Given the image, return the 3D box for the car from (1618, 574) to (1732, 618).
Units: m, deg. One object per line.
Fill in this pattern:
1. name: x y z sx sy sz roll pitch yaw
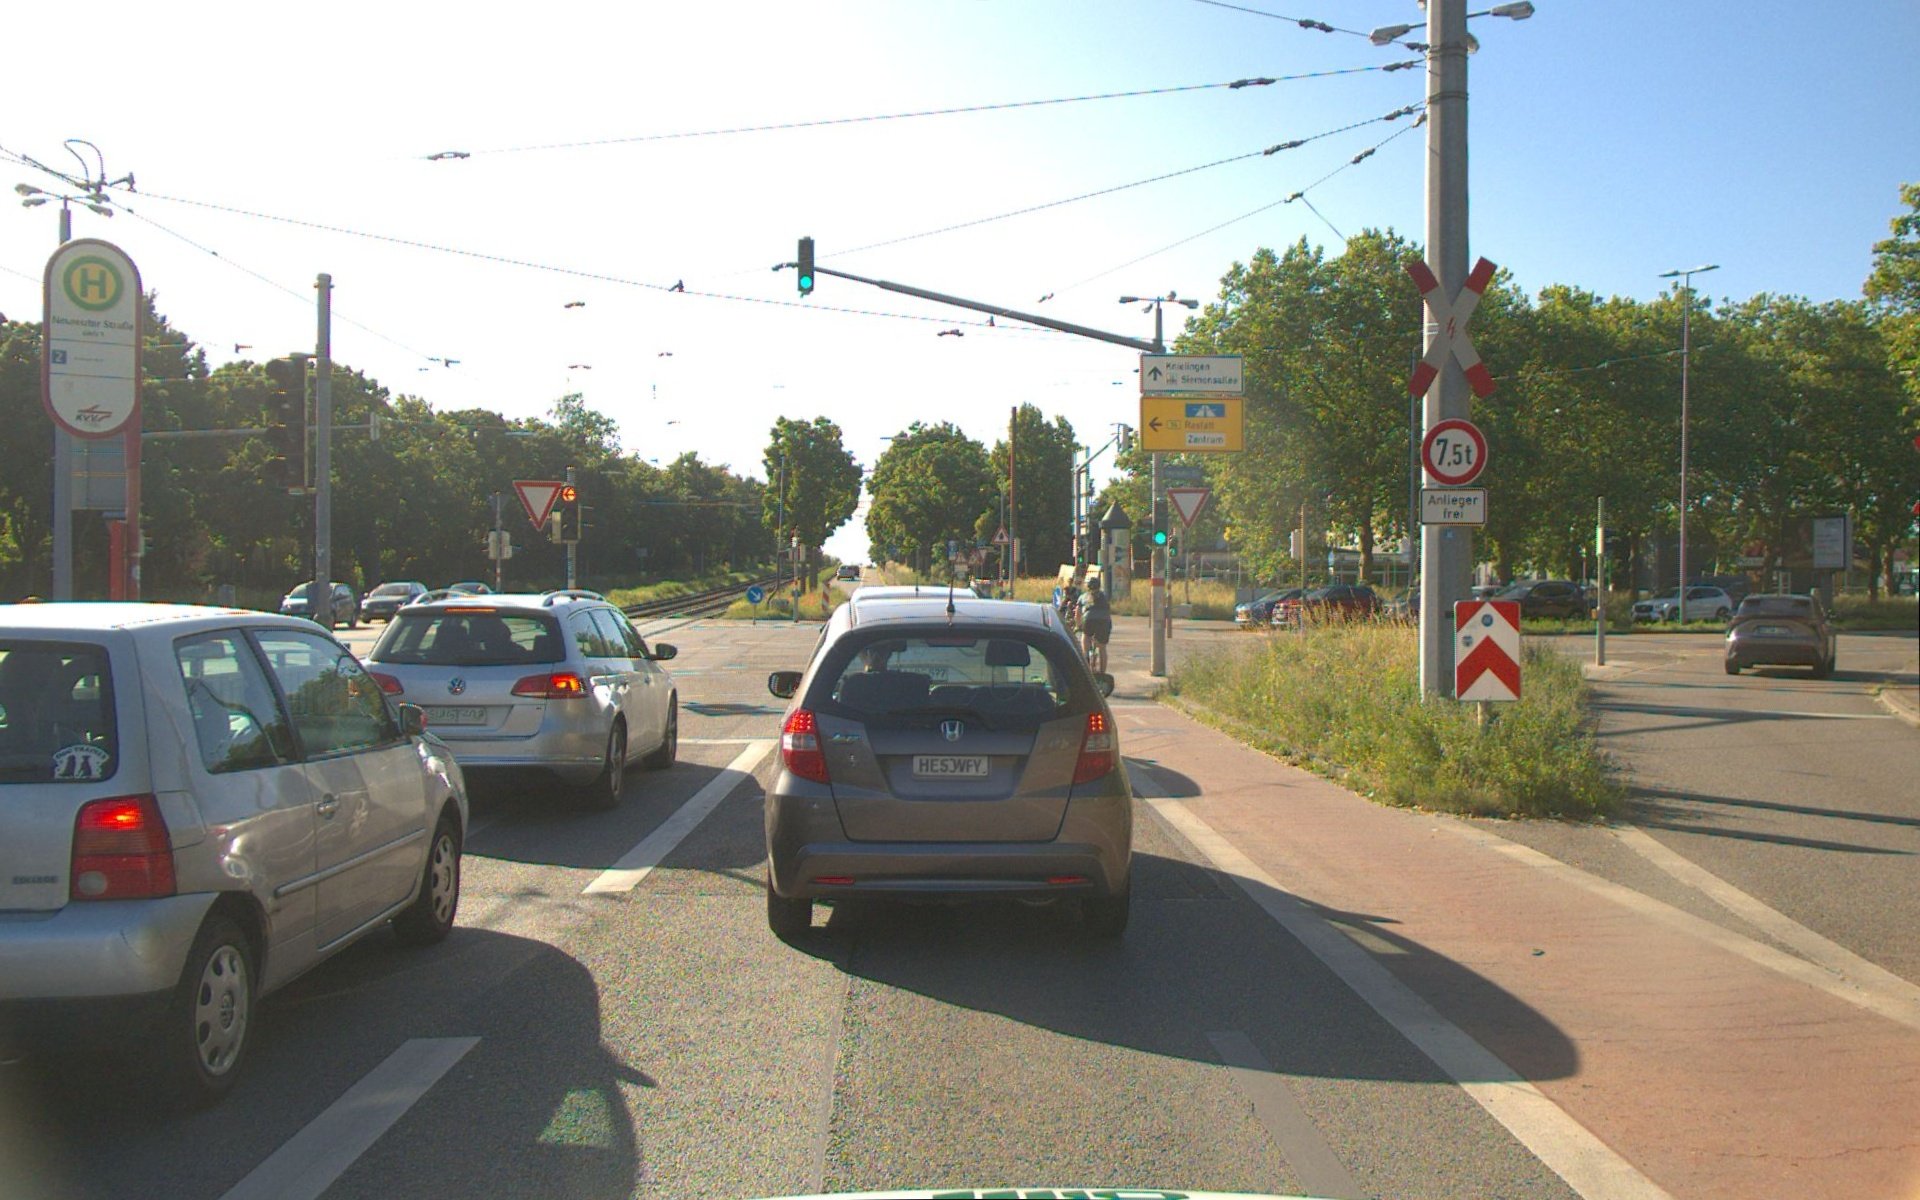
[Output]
1. car: 29.815 -0.139 68.928 4.708 1.711 1.891 1 -1 -29

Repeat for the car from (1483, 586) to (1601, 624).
1. car: 23.098 0.172 65.626 4.504 1.432 1.916 0 0 -29

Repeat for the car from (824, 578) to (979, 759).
1. car: -0.566 0.584 15.863 1.324 1.554 3.122 0 0 -2

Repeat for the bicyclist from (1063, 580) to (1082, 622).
1. bicyclist: 3.678 0.023 54.031 0.500 1.364 0.563 0 0 -11

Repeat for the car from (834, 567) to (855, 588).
1. car: -11.549 -2.250 165.415 1.953 2.049 3.998 0 0 -2

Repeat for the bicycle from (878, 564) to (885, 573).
1. bicycle: -11.002 -4.409 231.836 0.801 1.066 2.505 1 0 -2

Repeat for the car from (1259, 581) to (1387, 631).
1. car: 12.327 0.186 56.100 4.026 1.628 1.801 0 0 -26

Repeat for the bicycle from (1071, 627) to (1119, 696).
1. bicycle: 2.005 0.905 24.766 0.513 0.939 2.089 0 0 -1

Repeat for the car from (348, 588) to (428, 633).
1. car: -21.449 0.377 62.201 1.778 1.624 4.687 0 0 -6

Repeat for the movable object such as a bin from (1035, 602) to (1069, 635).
1. movable object such as a bin: 3.082 0.608 55.673 0.892 1.087 1.314 0 0 -9

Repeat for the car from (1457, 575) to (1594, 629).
1. car: 18.968 0.044 55.468 4.431 1.741 1.902 -1 0 -30

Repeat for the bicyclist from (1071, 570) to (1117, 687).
1. bicyclist: 1.998 0.408 24.666 0.602 1.709 0.933 0 0 0

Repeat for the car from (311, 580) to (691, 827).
1. car: -3.269 0.639 12.721 1.839 1.554 4.419 0 0 -2

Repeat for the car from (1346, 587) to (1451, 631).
1. car: 16.660 0.323 62.842 3.806 1.628 1.696 -1 0 -30

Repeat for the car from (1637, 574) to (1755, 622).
1. car: 33.176 -0.100 74.512 5.038 2.106 2.114 0 0 -25

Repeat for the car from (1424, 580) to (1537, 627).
1. car: 18.734 0.103 59.543 3.800 1.628 1.699 0 0 -26

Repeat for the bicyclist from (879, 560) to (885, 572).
1. bicyclist: -10.988 -4.779 231.858 0.801 1.551 0.965 1 -1 -2

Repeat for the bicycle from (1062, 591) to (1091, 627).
1. bicycle: 3.755 0.294 53.426 0.458 1.138 1.815 0 1 -11

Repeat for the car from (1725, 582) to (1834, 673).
1. car: 16.809 0.510 33.838 1.787 1.734 3.766 1 1 29

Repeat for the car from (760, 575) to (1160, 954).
1. car: -0.024 0.663 8.626 1.637 1.542 3.673 0 0 -1

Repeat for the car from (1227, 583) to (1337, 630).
1. car: 11.737 0.223 60.273 3.806 1.628 1.696 -1 0 -30

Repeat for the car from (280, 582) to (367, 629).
1. car: -20.732 0.163 53.968 1.650 1.484 3.700 0 0 -5

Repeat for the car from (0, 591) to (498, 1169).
1. car: -2.874 0.724 6.003 1.549 1.494 3.413 0 0 -2

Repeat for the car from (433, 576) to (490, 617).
1. car: -21.654 -0.159 71.969 1.757 1.717 3.994 0 0 -8
